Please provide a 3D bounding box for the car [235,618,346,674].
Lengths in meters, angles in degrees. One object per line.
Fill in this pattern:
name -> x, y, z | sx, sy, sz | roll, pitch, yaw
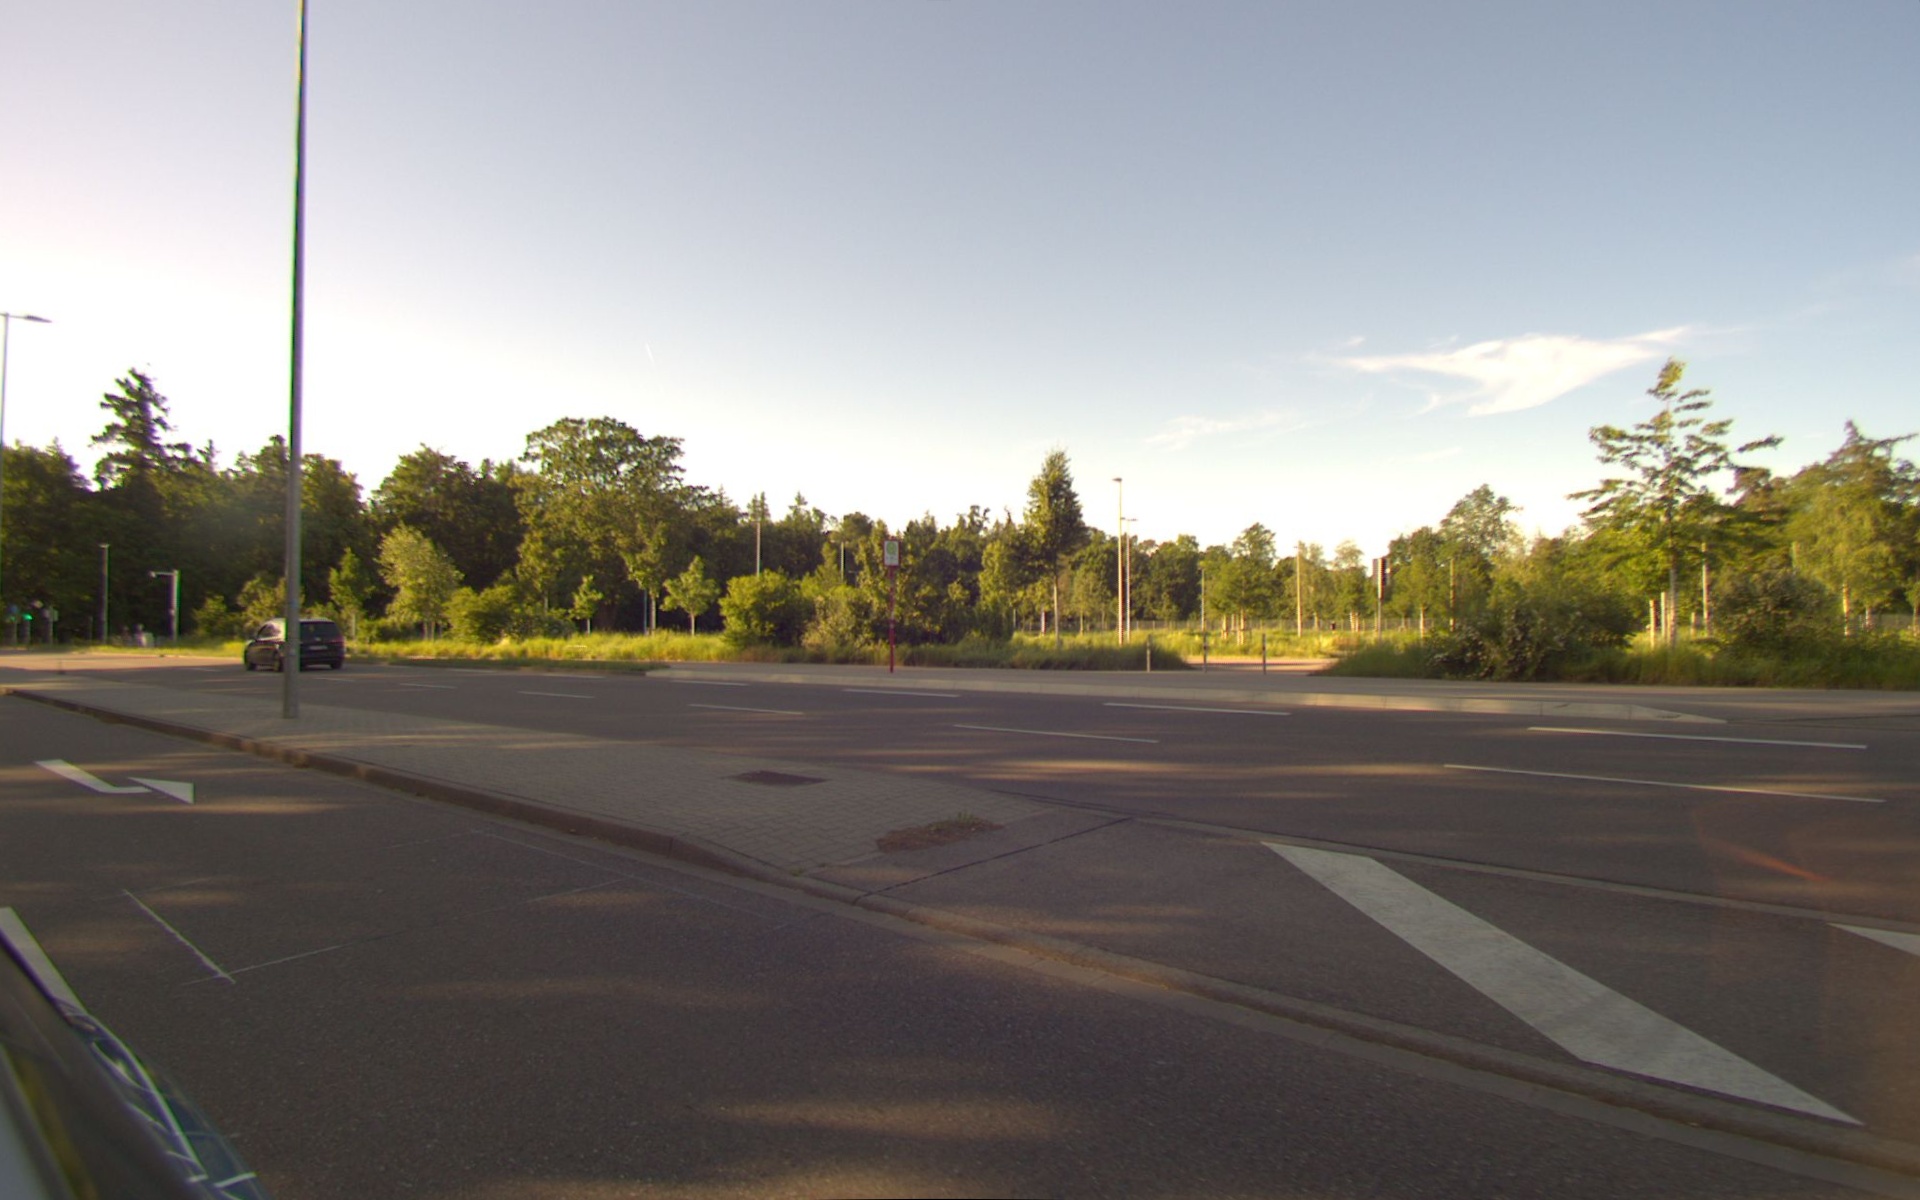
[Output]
car -> -22.229, 1.508, 33.522 | 4.698, 1.705, 1.765 | -3, -1, 40
